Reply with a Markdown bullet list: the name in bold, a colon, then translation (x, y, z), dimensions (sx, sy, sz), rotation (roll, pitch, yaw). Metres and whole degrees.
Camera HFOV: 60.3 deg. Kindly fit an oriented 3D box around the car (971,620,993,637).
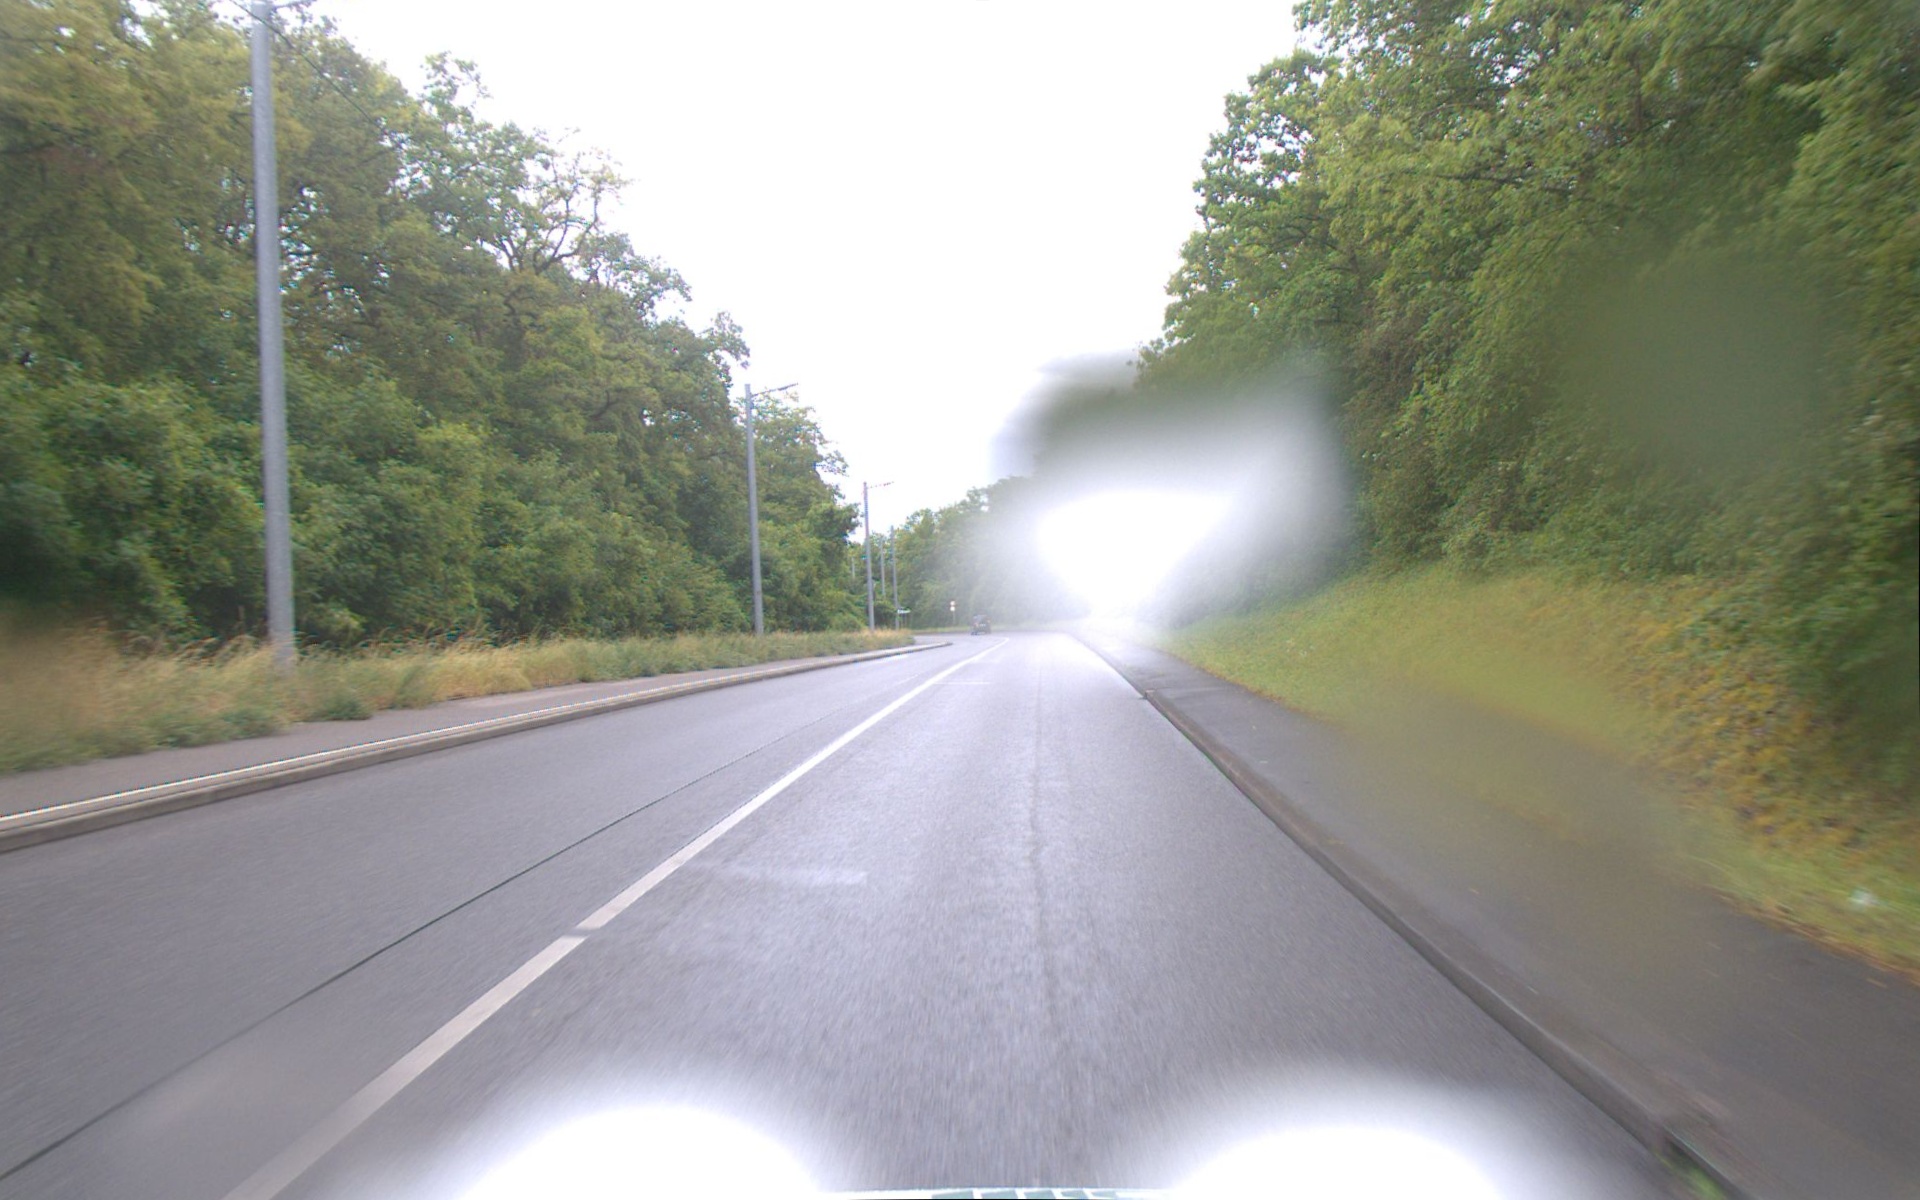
- **car**: translation (2.126, 2.793, 163.607), dimensions (1.831, 1.624, 3.996), rotation (1, -2, -4)
